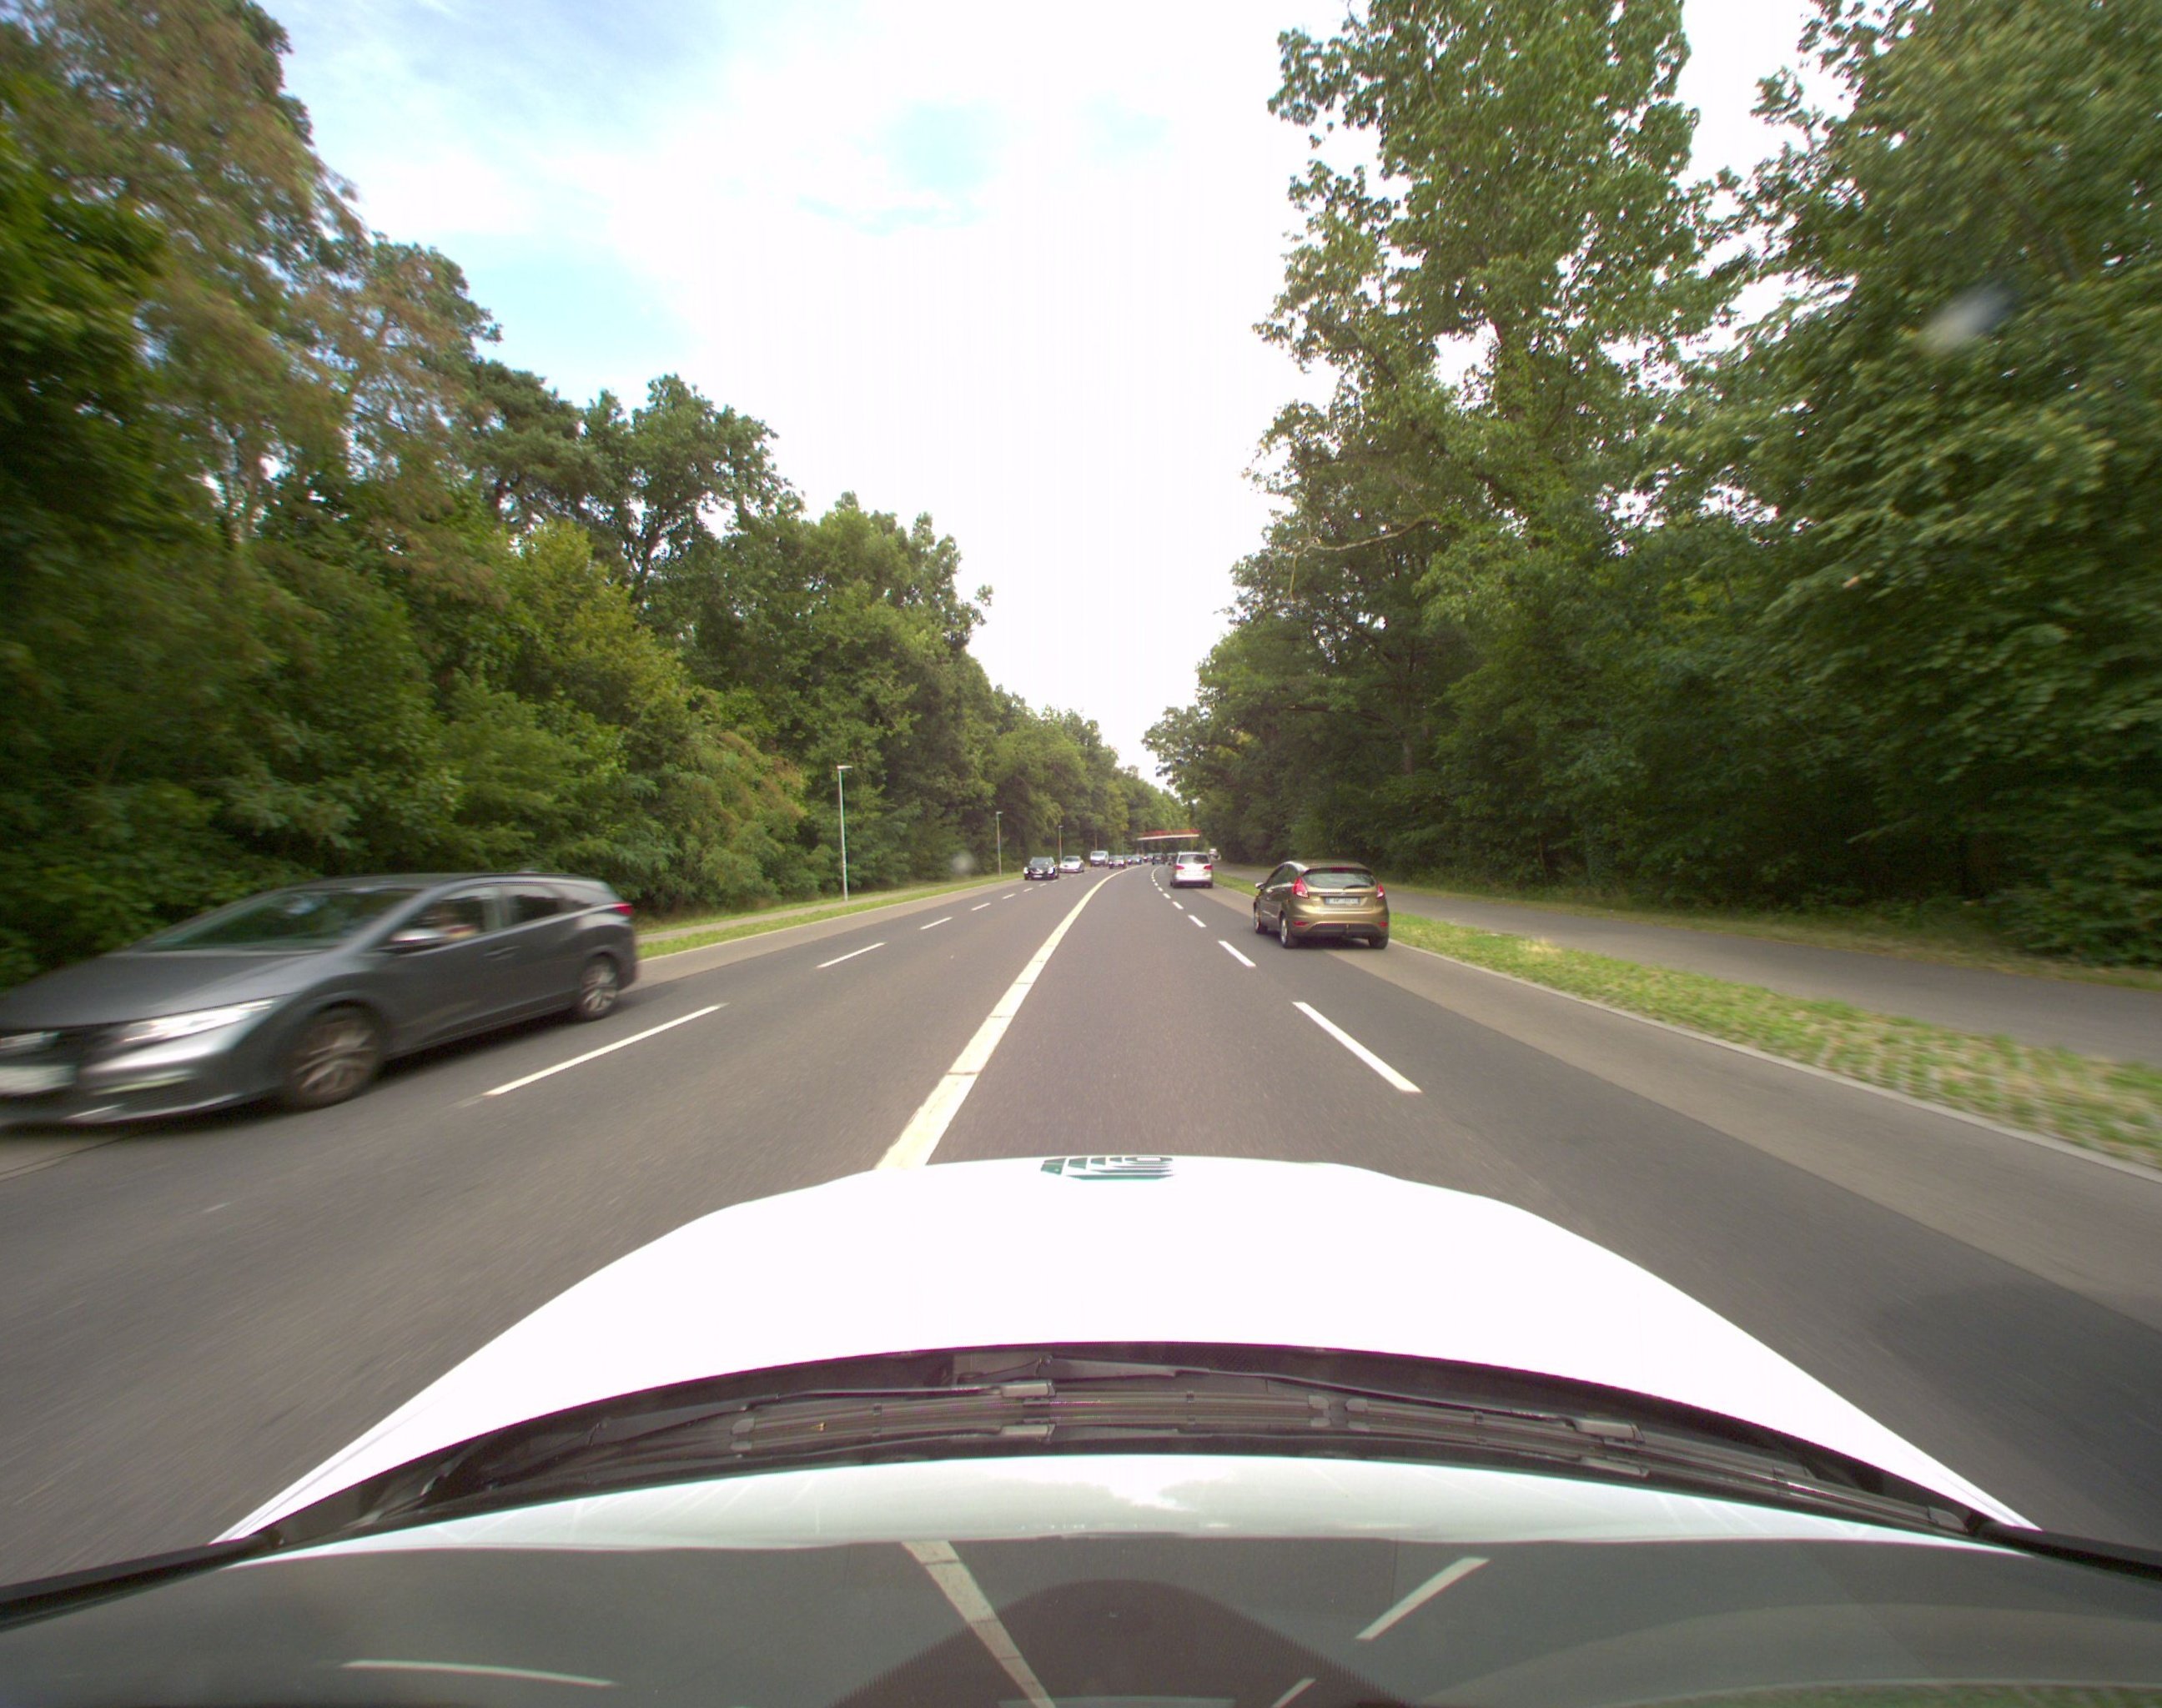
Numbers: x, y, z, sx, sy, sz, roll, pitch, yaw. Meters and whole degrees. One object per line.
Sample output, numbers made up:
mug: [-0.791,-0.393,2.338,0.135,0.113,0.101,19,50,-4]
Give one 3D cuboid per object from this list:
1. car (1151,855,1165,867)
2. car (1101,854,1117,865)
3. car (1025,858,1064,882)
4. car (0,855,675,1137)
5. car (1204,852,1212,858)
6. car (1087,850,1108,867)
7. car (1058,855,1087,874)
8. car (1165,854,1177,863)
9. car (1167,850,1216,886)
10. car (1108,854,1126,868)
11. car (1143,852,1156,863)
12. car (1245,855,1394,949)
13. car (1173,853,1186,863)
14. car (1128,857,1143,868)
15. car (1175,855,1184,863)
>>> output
car: [11.130,1.014,117.789,1.720,1.587,4.008,1,-1,8]
car: [4.130,0.799,118.660,1.875,1.558,4.526,-1,-1,6]
car: [-2.274,1.040,52.114,1.872,1.443,4.410,1,-1,6]
car: [-5.506,0.820,6.660,1.888,1.484,4.541,-2,-1,3]
car: [35.931,0.385,230.712,1.981,1.706,4.012,-1,0,11]
car: [2.103,0.609,102.537,1.982,2.014,5.066,-2,-1,9]
car: [-0.710,0.956,71.847,1.983,1.563,4.611,1,-1,6]
car: [17.422,0.922,157.680,1.982,1.697,4.009,1,-1,9]
car: [5.153,0.676,38.494,1.985,1.607,4.003,1,-1,3]
car: [3.957,0.802,89.801,1.647,1.486,3.874,1,-1,7]
car: [12.646,0.663,150.607,1.952,1.706,4.009,-4,-1,8]
car: [4.093,0.777,14.606,1.629,1.420,4.001,1,-1,2]
car: [17.566,0.706,145.675,1.981,1.750,4.011,1,-1,11]
car: [8.044,1.255,119.740,1.875,1.478,4.527,1,-1,7]
car: [20.756,1.038,171.124,1.809,1.566,4.006,1,-1,6]
